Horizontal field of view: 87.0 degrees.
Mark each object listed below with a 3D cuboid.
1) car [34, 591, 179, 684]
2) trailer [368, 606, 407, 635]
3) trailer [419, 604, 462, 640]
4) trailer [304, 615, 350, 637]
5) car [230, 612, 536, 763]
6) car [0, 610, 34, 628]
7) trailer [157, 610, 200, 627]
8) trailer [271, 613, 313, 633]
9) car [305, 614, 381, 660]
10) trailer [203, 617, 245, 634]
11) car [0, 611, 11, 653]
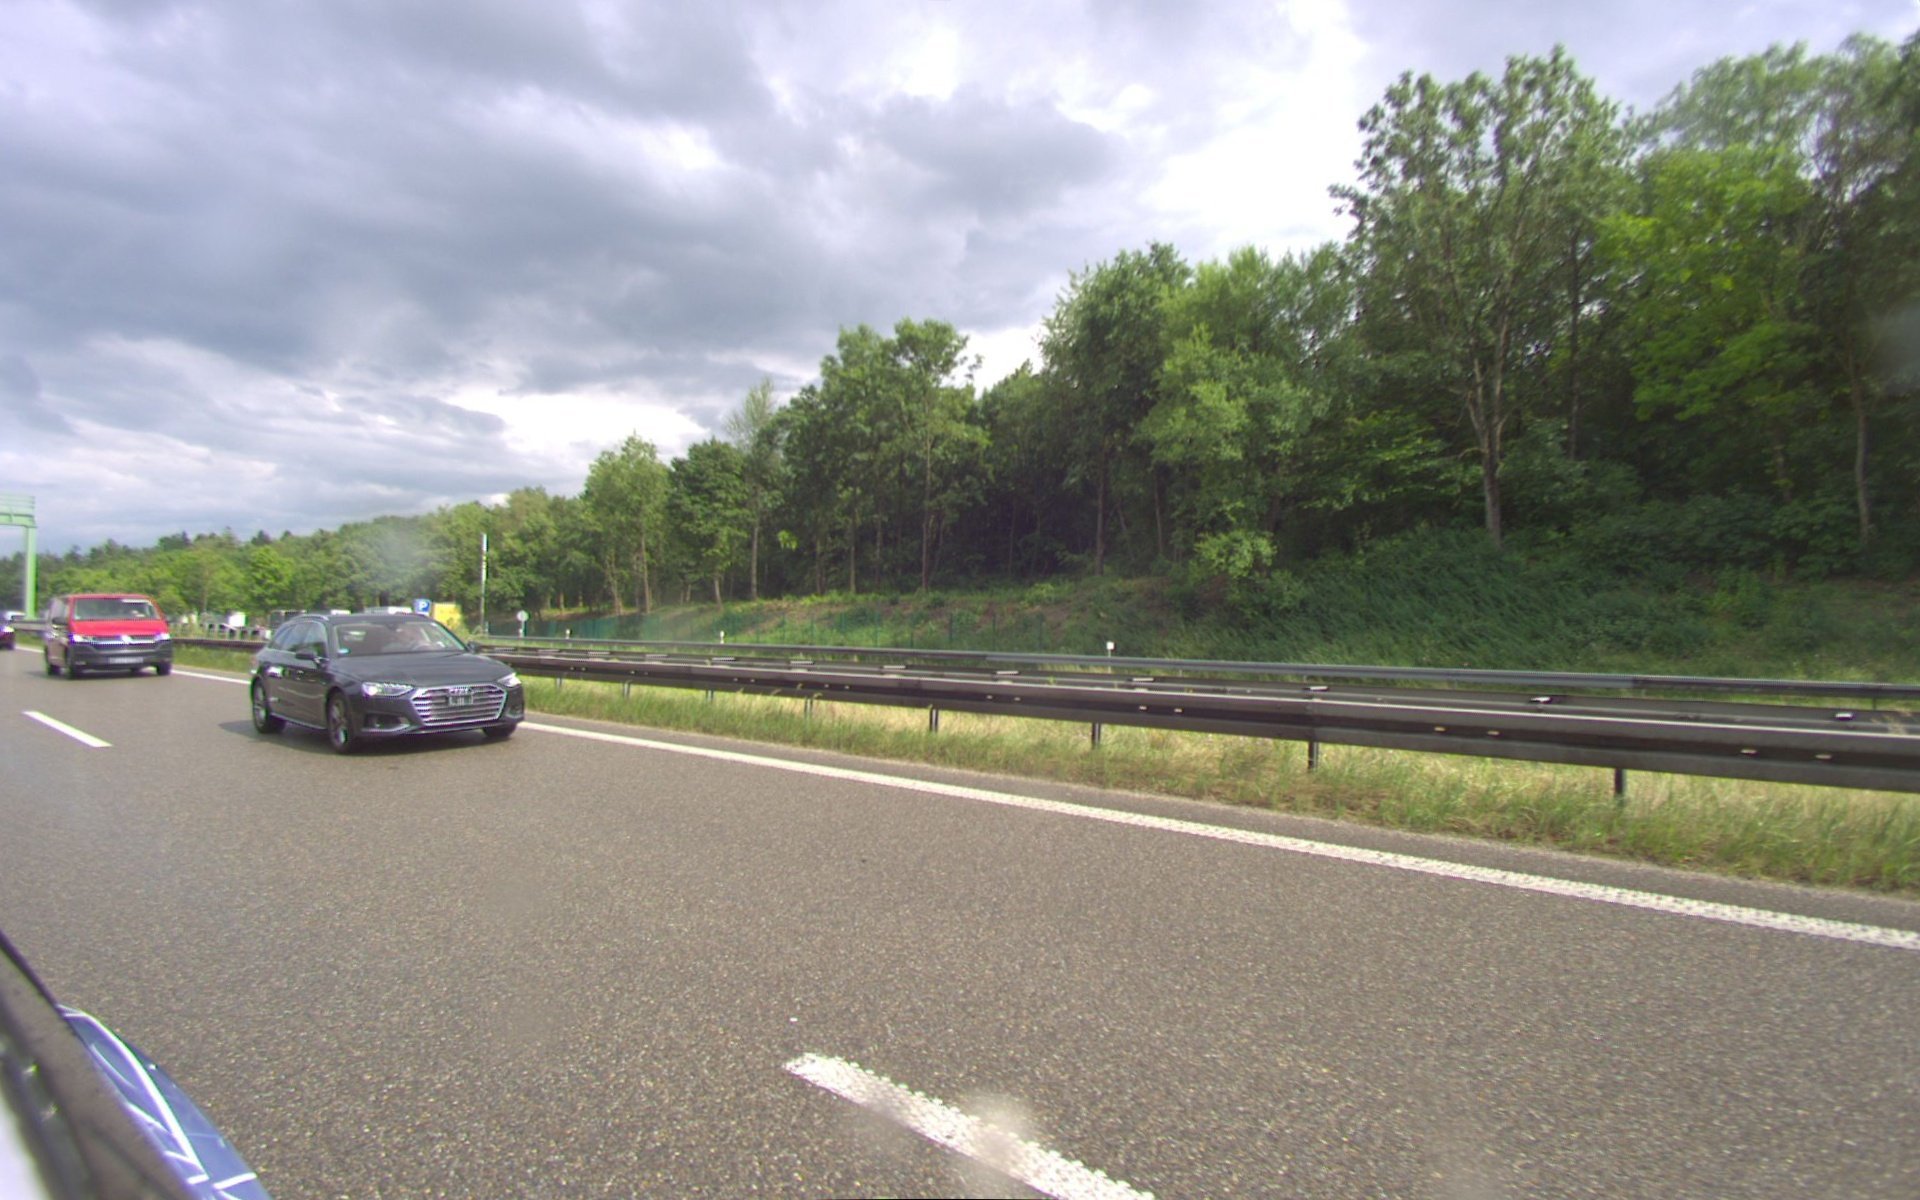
[{"bbox_3d":[-20.289,0.852,23.976,4.747,2.000,1.871,-1,-2,41],"label":"car"},{"bbox_3d":[-76.248,2.737,134.646,2.156,3.627,11.734,2,-2,-41],"label":"trailer"},{"bbox_3d":[-57.460,2.323,111.719,1.967,3.722,13.688,0,0,-37],"label":"trailer"},{"bbox_3d":[-99.353,4.070,158.728,12.173,3.217,2.987,-1,-2,43],"label":"trailer"},{"bbox_3d":[-6.821,0.869,11.748,4.465,1.422,1.701,-1,-1,41],"label":"car"},{"bbox_3d":[-91.542,1.830,98.161,4.965,1.692,1.889,-1,-2,41],"label":"car"},{"bbox_3d":[-160.472,3.815,207.734,13.375,3.296,3.050,-1,-2,34],"label":"trailer"},{"bbox_3d":[-113.013,3.815,171.089,12.640,3.296,2.577,-1,-2,41],"label":"trailer"},{"bbox_3d":[-29.478,1.726,48.296,4.808,2.029,1.971,0,0,44],"label":"car"},{"bbox_3d":[-140.312,4.850,192.939,12.631,3.296,3.153,-1,-2,38],"label":"trailer"},{"bbox_3d":[-40.463,1.314,41.465,4.292,1.682,1.871,-1,-1,40],"label":"car"}]
